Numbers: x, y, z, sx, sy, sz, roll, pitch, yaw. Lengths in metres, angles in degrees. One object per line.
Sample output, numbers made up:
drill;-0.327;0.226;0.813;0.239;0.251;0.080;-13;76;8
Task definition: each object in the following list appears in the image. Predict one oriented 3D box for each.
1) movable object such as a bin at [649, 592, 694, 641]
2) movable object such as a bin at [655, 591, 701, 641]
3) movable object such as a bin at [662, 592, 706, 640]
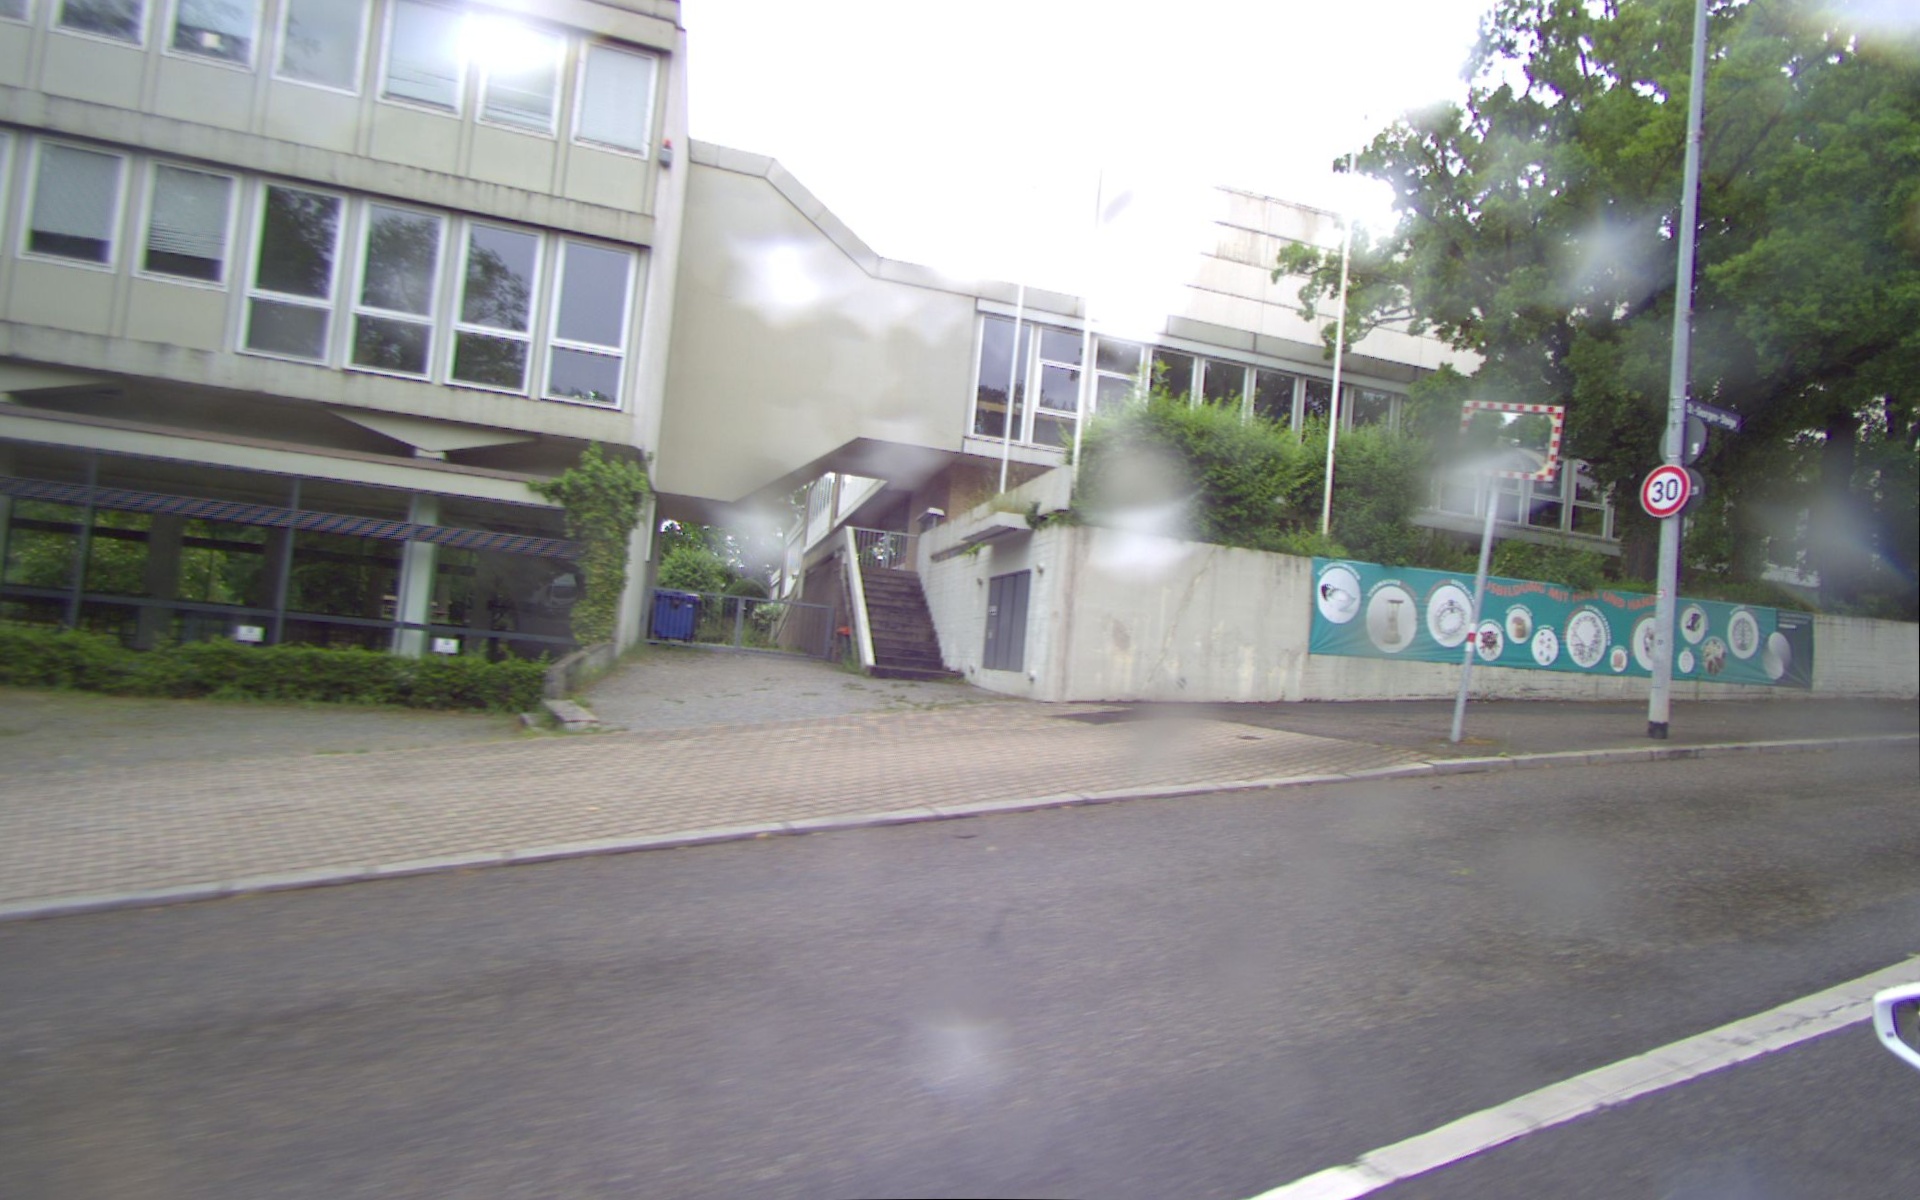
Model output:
movable object such as a bin;-7.146;0.412;24.862;0.998;1.163;0.466;3;-1;-20
movable object such as a bin;-6.798;0.388;24.219;0.998;1.163;0.466;3;-1;-20
movable object such as a bin;-7.019;0.409;25.512;0.998;1.163;0.466;3;-1;-20
